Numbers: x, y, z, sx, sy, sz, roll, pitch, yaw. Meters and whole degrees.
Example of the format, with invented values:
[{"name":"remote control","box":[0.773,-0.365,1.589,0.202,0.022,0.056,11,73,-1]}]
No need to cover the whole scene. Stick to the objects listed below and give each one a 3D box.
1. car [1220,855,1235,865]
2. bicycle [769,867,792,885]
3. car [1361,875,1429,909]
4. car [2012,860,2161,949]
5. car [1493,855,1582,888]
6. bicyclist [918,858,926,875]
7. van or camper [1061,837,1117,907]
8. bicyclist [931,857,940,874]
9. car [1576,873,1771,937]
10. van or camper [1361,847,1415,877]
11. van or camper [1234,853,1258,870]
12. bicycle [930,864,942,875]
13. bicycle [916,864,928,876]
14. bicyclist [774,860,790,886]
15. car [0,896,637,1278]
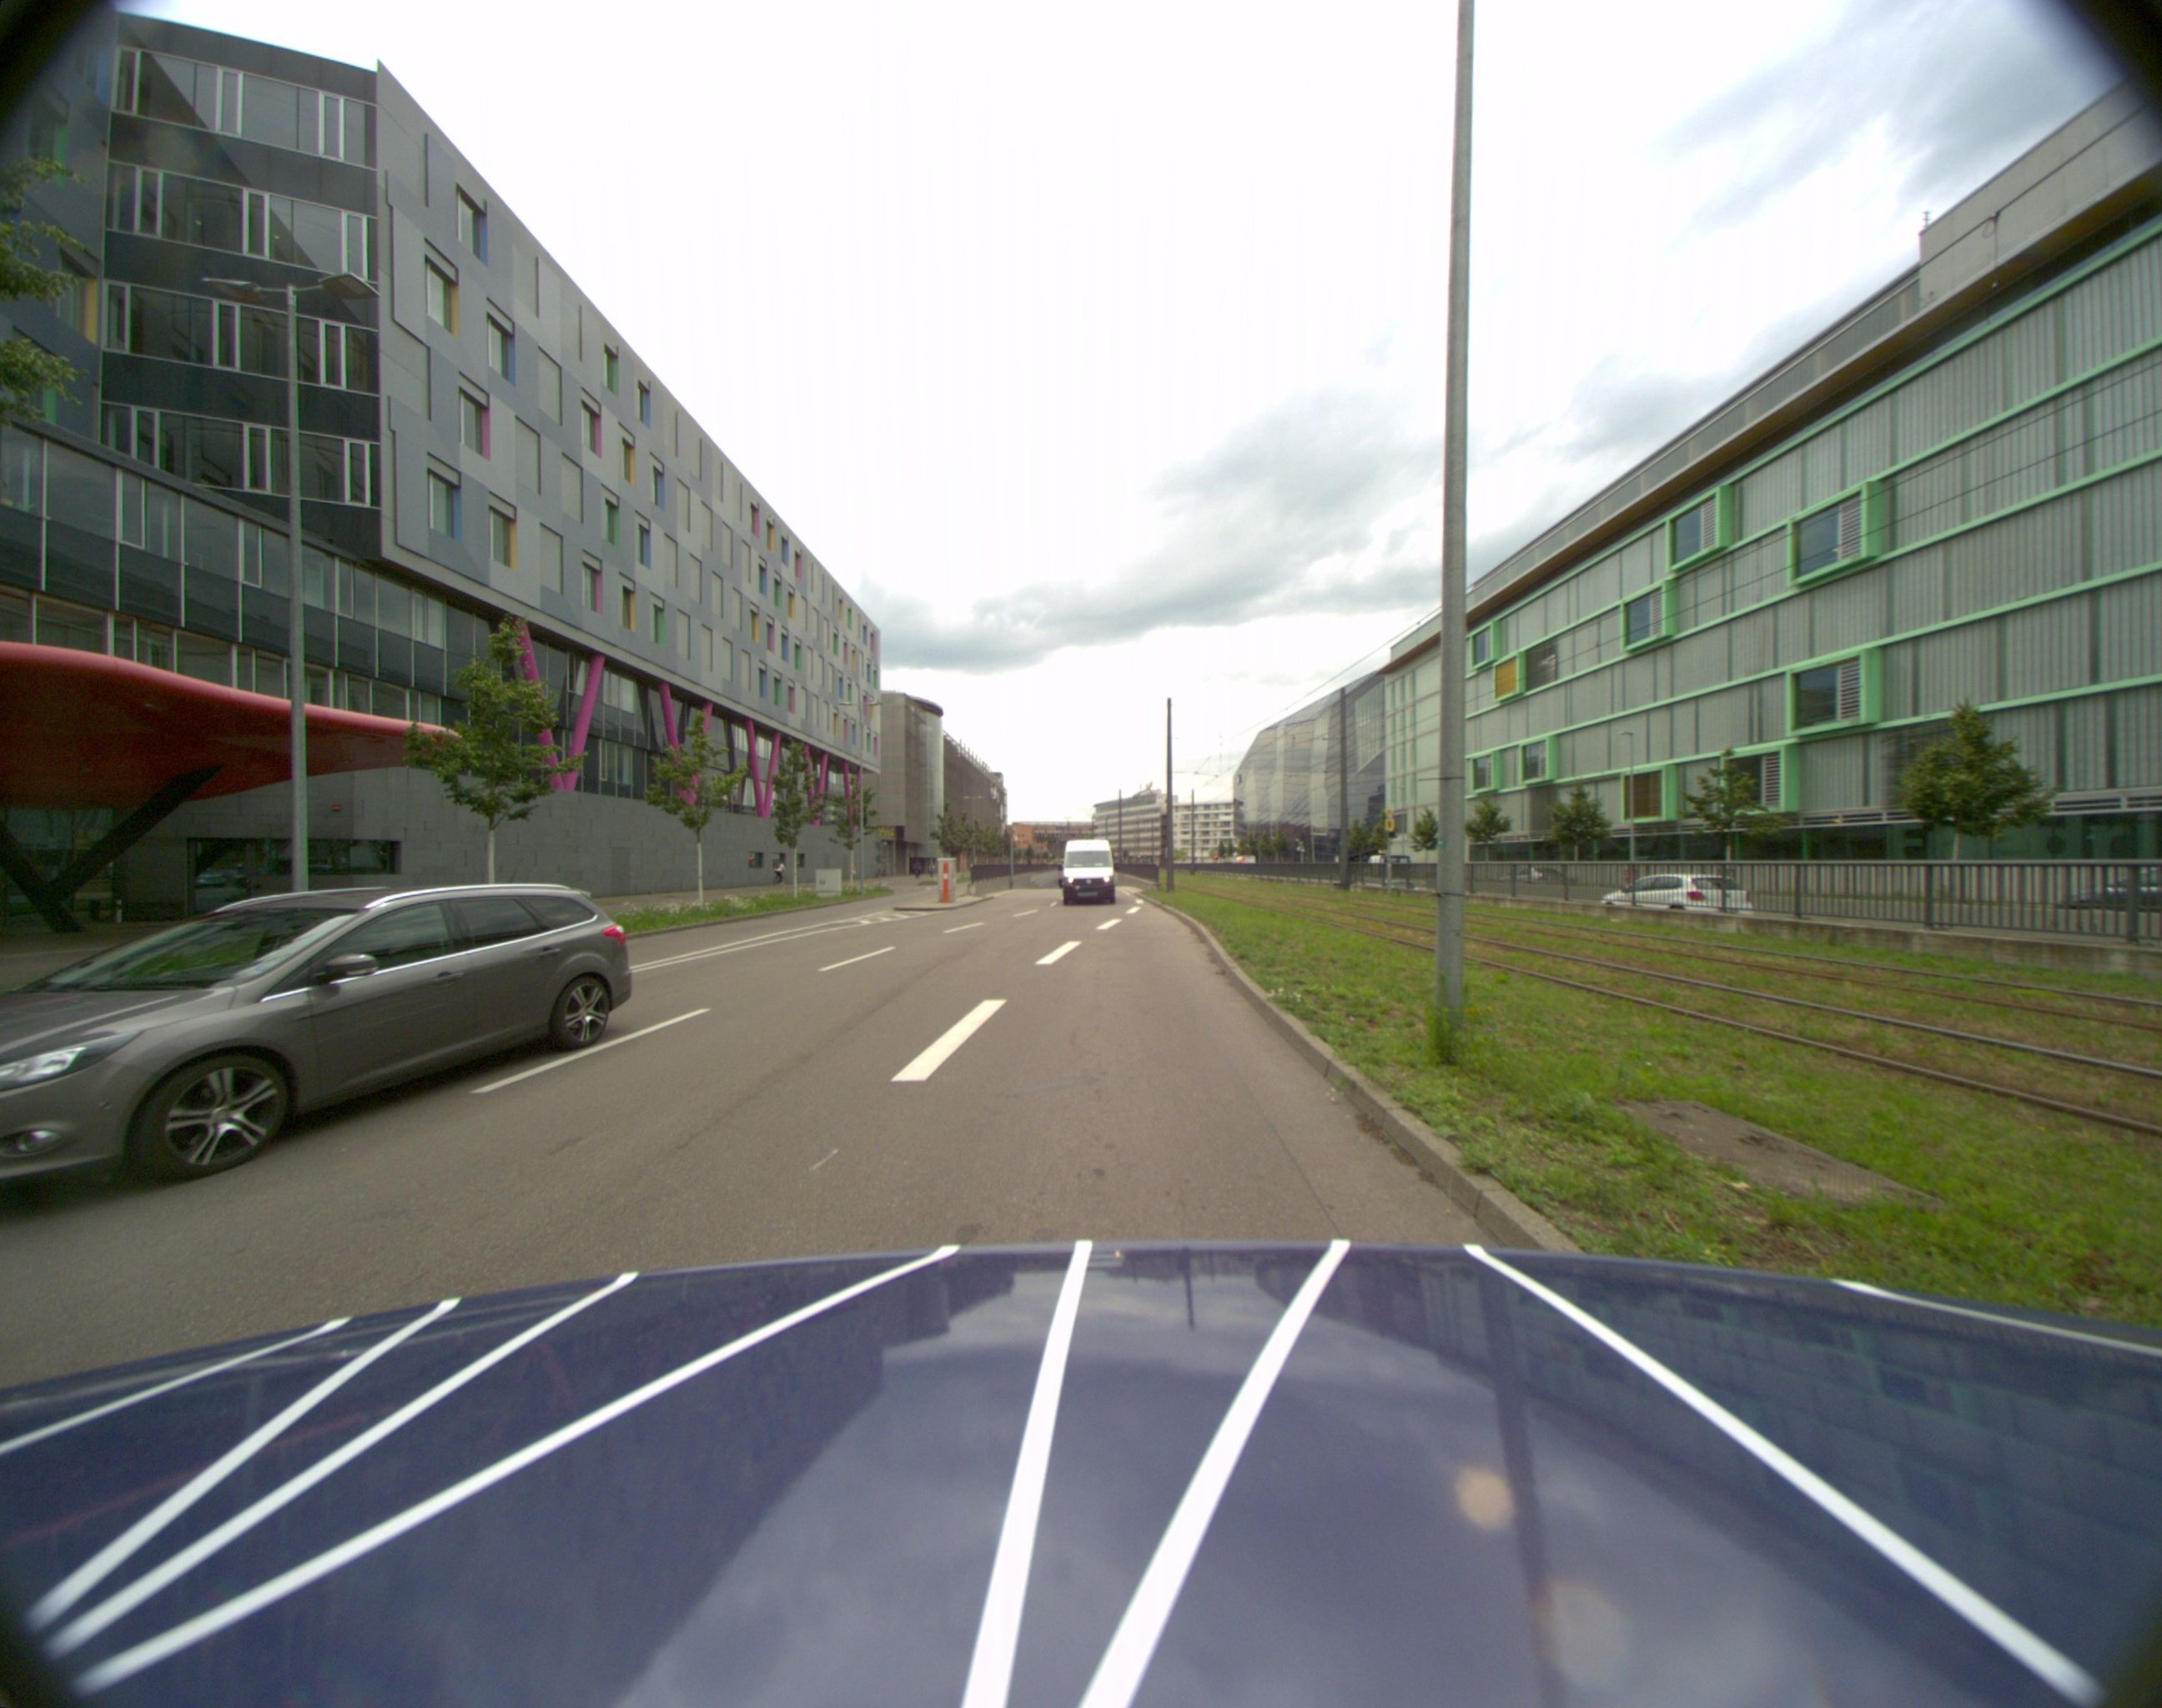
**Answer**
[{"name":"car","box":[27.114,1.157,140.654,1.998,1.583,4.769,-1,-2,3]},{"name":"bicycle","box":[-20.738,1.518,52.497,0.785,1.187,2.220,0,-1,-3]},{"name":"car","box":[16.392,1.934,39.857,1.998,1.576,4.380,0,0,4]},{"name":"car","box":[23.319,1.048,15.749,1.998,1.813,4.968,0,0,1]},{"name":"car","box":[24.127,0.883,40.410,1.998,1.656,4.647,0,0,1]},{"name":"bicyclist","box":[-17.387,1.350,83.129,0.784,1.790,0.705,-1,-4,0]},{"name":"van or camper","box":[0.317,0.668,30.808,2.043,2.572,5.041,-1,0,0]},{"name":"bicyclist","box":[-15.913,1.290,83.217,0.784,1.791,0.705,-1,-1,0]},{"name":"car","box":[16.130,1.314,21.053,1.767,1.470,4.572,1,0,-1]},{"name":"van or camper","box":[24.484,0.653,60.867,2.178,2.273,5.359,0,0,1]},{"name":"van or camper","box":[23.946,1.097,110.325,2.178,2.273,6.507,-1,-1,1]},{"name":"bicycle","box":[-15.898,1.665,83.245,0.801,1.151,2.345,-1,-1,0]},{"name":"bicycle","box":[-17.388,1.724,83.348,0.801,1.150,2.347,-1,-4,0]},{"name":"bicyclist","box":[-20.746,1.334,52.697,0.772,1.776,0.974,0,0,-2]},{"name":"car","box":[-5.357,1.125,5.284,1.751,1.490,4.271,-1,-1,5]}]
